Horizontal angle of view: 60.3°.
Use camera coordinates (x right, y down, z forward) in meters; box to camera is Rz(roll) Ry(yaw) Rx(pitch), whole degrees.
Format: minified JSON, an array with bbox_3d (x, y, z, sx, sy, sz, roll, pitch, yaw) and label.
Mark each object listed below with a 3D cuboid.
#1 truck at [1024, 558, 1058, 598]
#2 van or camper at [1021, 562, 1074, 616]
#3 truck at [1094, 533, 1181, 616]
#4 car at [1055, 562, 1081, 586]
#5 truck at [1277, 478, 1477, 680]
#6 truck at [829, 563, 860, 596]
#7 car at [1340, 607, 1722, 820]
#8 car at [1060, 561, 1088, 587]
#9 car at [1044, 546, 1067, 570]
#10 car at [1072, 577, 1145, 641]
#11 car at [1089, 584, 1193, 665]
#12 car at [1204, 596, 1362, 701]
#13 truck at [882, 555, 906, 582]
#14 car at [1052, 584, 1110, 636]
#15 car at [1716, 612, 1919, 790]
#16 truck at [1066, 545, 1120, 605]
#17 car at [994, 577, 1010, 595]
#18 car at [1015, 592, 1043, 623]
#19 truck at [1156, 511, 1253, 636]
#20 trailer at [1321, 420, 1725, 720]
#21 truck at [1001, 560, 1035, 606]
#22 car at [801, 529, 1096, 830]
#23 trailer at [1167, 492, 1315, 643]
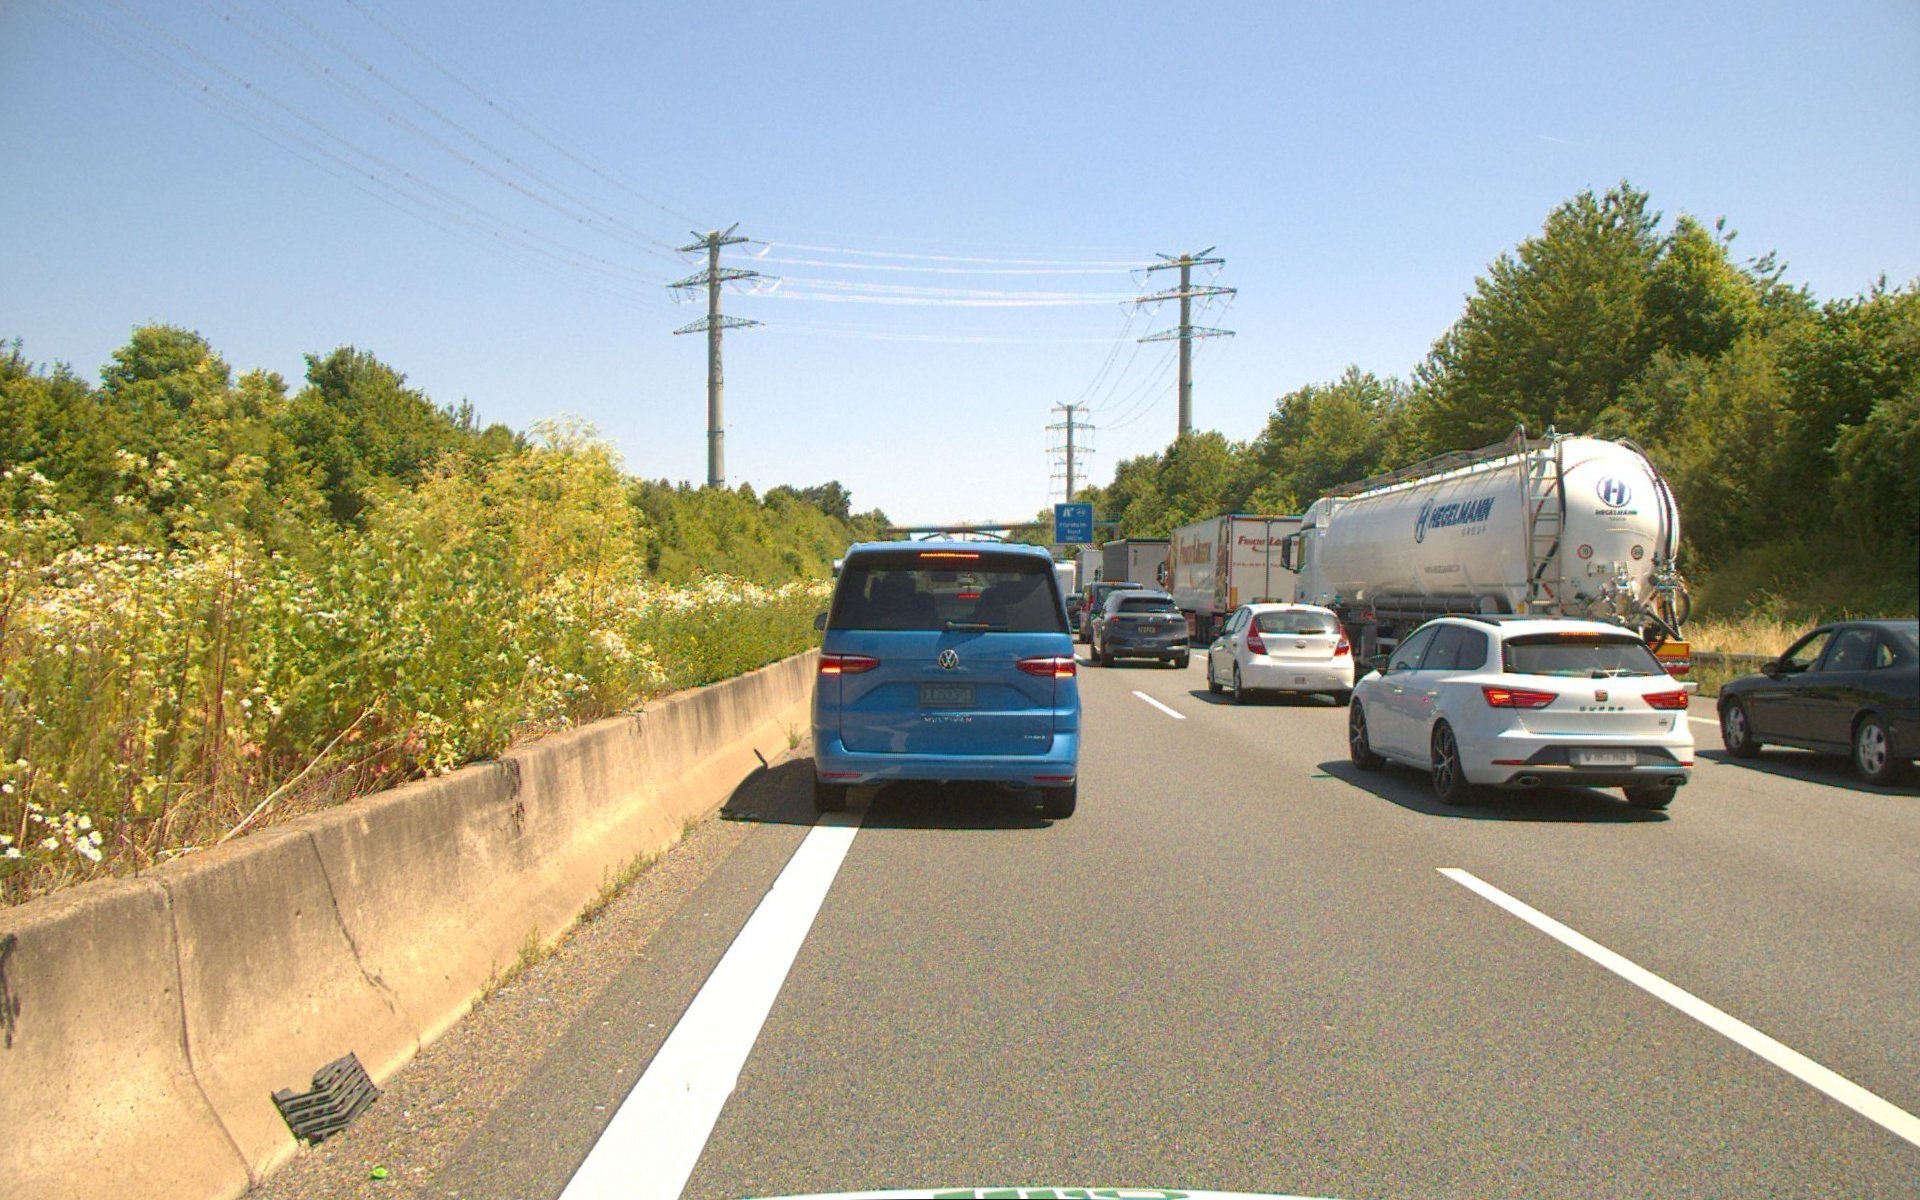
[{"bbox_3d":[9.609,-2.580,197.017,3.493,4.596,10.292,0,0,0],"label":"truck"},{"bbox_3d":[5.122,-0.609,97.947,2.896,3.075,7.103,0,0,1],"label":"van or camper"},{"bbox_3d":[8.806,-1.109,83.924,2.944,3.832,15.713,0,0,1],"label":"truck"},{"bbox_3d":[9.267,-2.221,142.105,1.952,2.049,4.000,0,0,0],"label":"car"},{"bbox_3d":[8.629,-0.404,34.879,2.736,3.903,5.571,-1,0,0],"label":"truck"},{"bbox_3d":[-13.907,-2.442,200.092,2.852,3.886,11.943,1,0,0],"label":"truck"},{"bbox_3d":[4.486,0.823,13.716,1.711,1.468,4.313,-1,-1,1],"label":"car"},{"bbox_3d":[9.096,-2.056,132.071,1.952,2.049,4.000,0,0,0],"label":"car"},{"bbox_3d":[8.783,-3.874,152.284,1.952,2.049,4.000,0,0,0],"label":"car"},{"bbox_3d":[4.843,0.318,54.341,1.884,1.959,4.234,-1,-1,-1],"label":"car"},{"bbox_3d":[4.119,0.572,38.320,1.958,1.745,4.625,-1,-1,1],"label":"car"},{"bbox_3d":[4.980,0.729,25.990,1.779,1.511,4.000,-1,-1,1],"label":"car"},{"bbox_3d":[-10.275,-4.858,257.242,3.107,3.886,11.943,1,0,0],"label":"truck"},{"bbox_3d":[4.783,0.400,66.056,1.884,1.959,4.234,-1,-1,-1],"label":"car"},{"bbox_3d":[8.701,0.845,15.292,1.607,1.441,3.989,-1,-1,1],"label":"car"},{"bbox_3d":[9.061,-1.619,113.999,2.835,3.832,13.345,0,0,1],"label":"truck"},{"bbox_3d":[5.276,-1.708,207.419,1.953,2.163,3.999,0,0,0],"label":"car"},{"bbox_3d":[4.755,0.531,114.417,1.798,2.033,4.000,-1,-1,1],"label":"car"},{"bbox_3d":[9.264,-0.980,63.144,2.853,4.547,5.142,-1,0,-1],"label":"truck"},{"bbox_3d":[8.645,-0.388,27.457,2.705,3.912,11.484,-1,0,0],"label":"trailer"},{"bbox_3d":[5.049,-1.445,145.473,2.835,3.832,10.141,0,0,1],"label":"truck"},{"bbox_3d":[-0.064,0.508,12.735,1.881,1.919,4.000,1,0,0],"label":"car"},{"bbox_3d":[9.307,-0.972,56.362,2.853,4.547,12.152,-1,0,0],"label":"trailer"}]
